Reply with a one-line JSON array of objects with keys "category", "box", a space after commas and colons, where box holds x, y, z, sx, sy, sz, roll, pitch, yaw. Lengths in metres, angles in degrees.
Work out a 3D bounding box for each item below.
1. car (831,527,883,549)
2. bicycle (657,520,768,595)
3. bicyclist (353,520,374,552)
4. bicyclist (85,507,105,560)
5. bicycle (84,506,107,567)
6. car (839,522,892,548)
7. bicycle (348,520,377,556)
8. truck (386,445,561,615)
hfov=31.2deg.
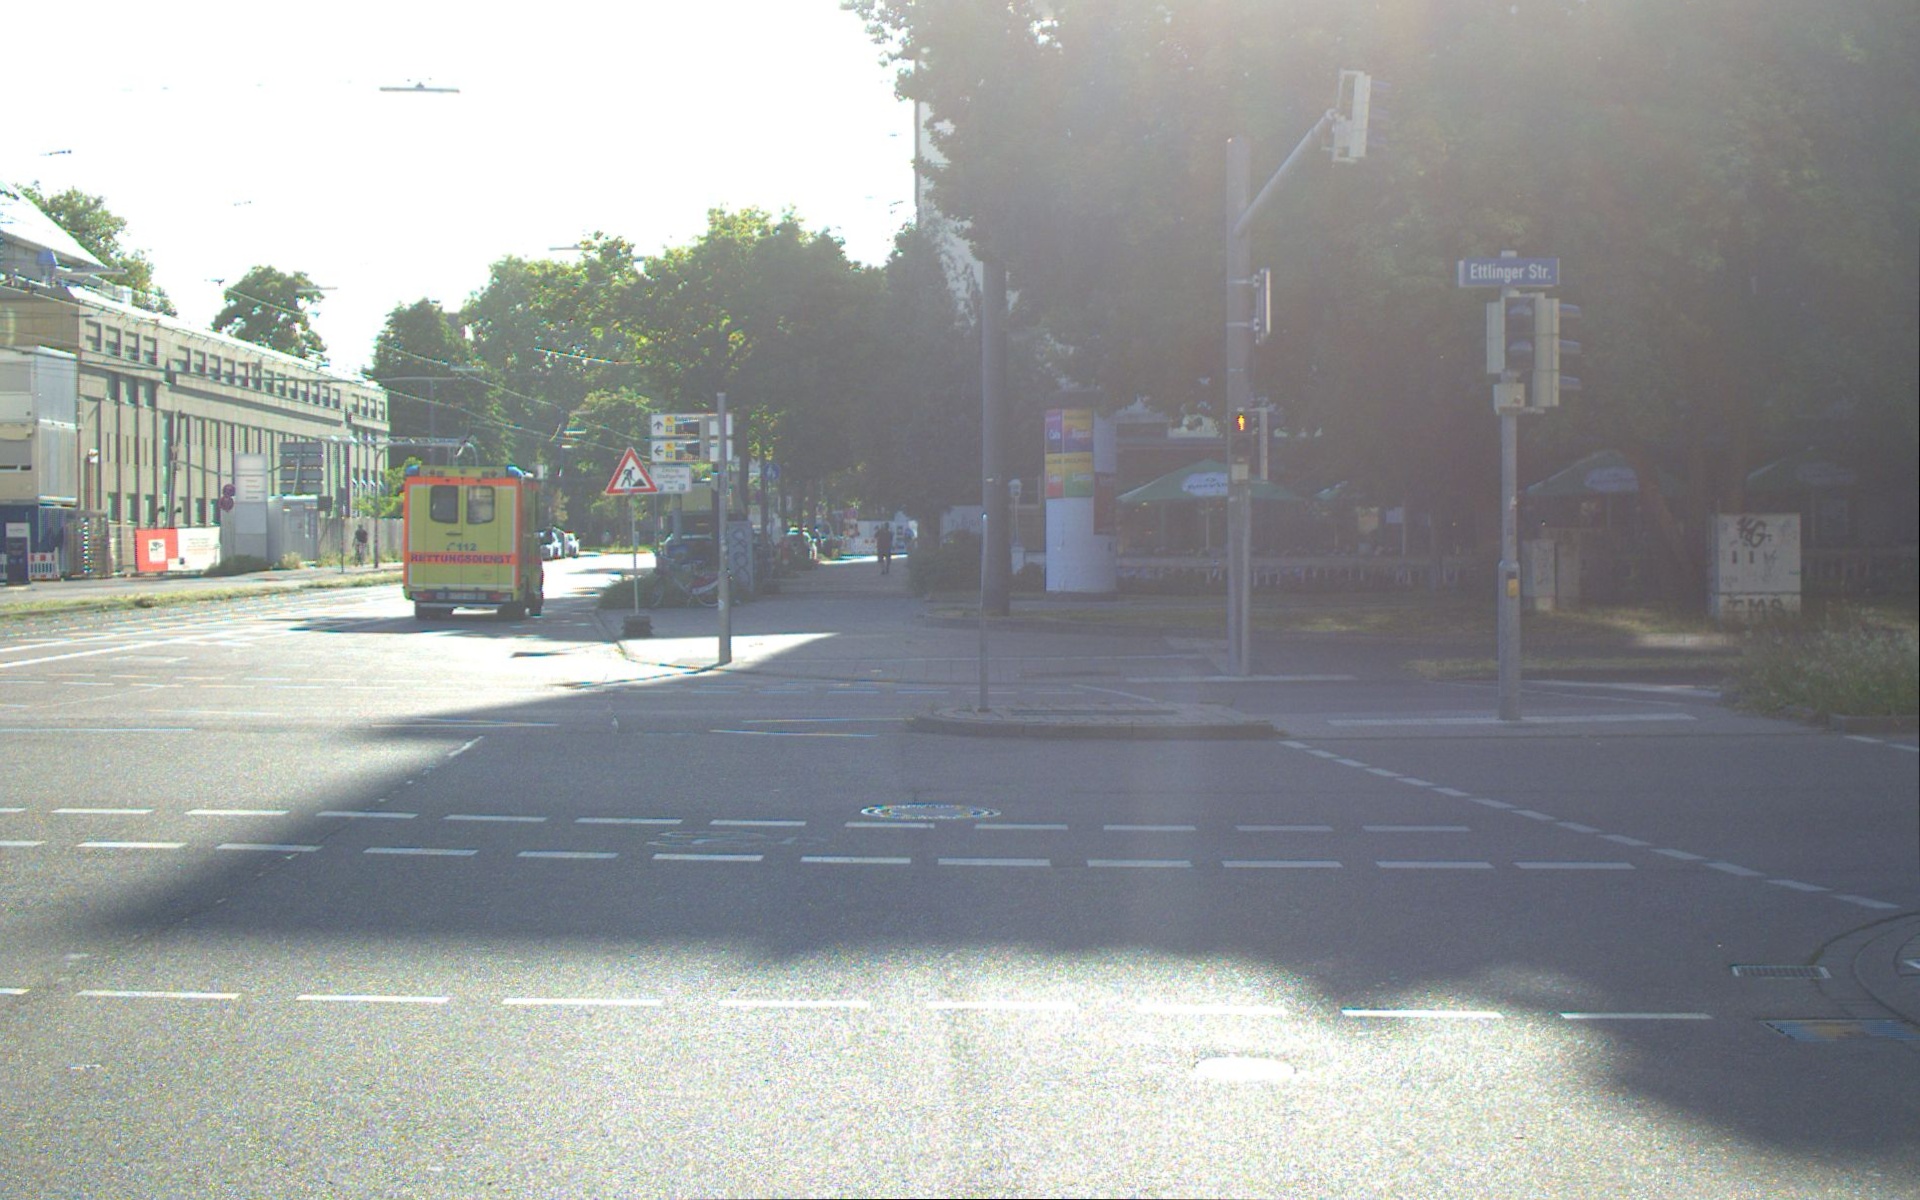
[{"category": "car", "box": [-6.324, -3.800, 211.076, 3.217, 1.259, 1.373, 1, 0, -1]}, {"category": "bicycle", "box": [-5.848, -0.998, 81.383, 2.547, 1.737, 1.037, 1, 0, 0]}, {"category": "bicyclist", "box": [-25.359, -2.717, 146.217, 0.689, 1.323, 1.000, 1, 0, 0]}, {"category": "bicyclist", "box": [-32.735, -2.513, 130.162, 0.571, 2.017, 0.762, 0, 1, -2]}, {"category": "bicycle", "box": [-32.727, -2.398, 130.151, 0.571, 2.288, 1.422, 0, 1, -2]}, {"category": "car", "box": [-5.878, -4.041, 213.438, 3.214, 1.583, 1.446, 1, 0, -4]}, {"category": "bicycle", "box": [-25.407, -2.615, 146.148, 0.689, 1.506, 2.944, 1, 1, 0]}, {"category": "truck", "box": [-8.989, -1.292, 64.094, 2.716, 3.005, 6.490, 0, 1, -3]}]
